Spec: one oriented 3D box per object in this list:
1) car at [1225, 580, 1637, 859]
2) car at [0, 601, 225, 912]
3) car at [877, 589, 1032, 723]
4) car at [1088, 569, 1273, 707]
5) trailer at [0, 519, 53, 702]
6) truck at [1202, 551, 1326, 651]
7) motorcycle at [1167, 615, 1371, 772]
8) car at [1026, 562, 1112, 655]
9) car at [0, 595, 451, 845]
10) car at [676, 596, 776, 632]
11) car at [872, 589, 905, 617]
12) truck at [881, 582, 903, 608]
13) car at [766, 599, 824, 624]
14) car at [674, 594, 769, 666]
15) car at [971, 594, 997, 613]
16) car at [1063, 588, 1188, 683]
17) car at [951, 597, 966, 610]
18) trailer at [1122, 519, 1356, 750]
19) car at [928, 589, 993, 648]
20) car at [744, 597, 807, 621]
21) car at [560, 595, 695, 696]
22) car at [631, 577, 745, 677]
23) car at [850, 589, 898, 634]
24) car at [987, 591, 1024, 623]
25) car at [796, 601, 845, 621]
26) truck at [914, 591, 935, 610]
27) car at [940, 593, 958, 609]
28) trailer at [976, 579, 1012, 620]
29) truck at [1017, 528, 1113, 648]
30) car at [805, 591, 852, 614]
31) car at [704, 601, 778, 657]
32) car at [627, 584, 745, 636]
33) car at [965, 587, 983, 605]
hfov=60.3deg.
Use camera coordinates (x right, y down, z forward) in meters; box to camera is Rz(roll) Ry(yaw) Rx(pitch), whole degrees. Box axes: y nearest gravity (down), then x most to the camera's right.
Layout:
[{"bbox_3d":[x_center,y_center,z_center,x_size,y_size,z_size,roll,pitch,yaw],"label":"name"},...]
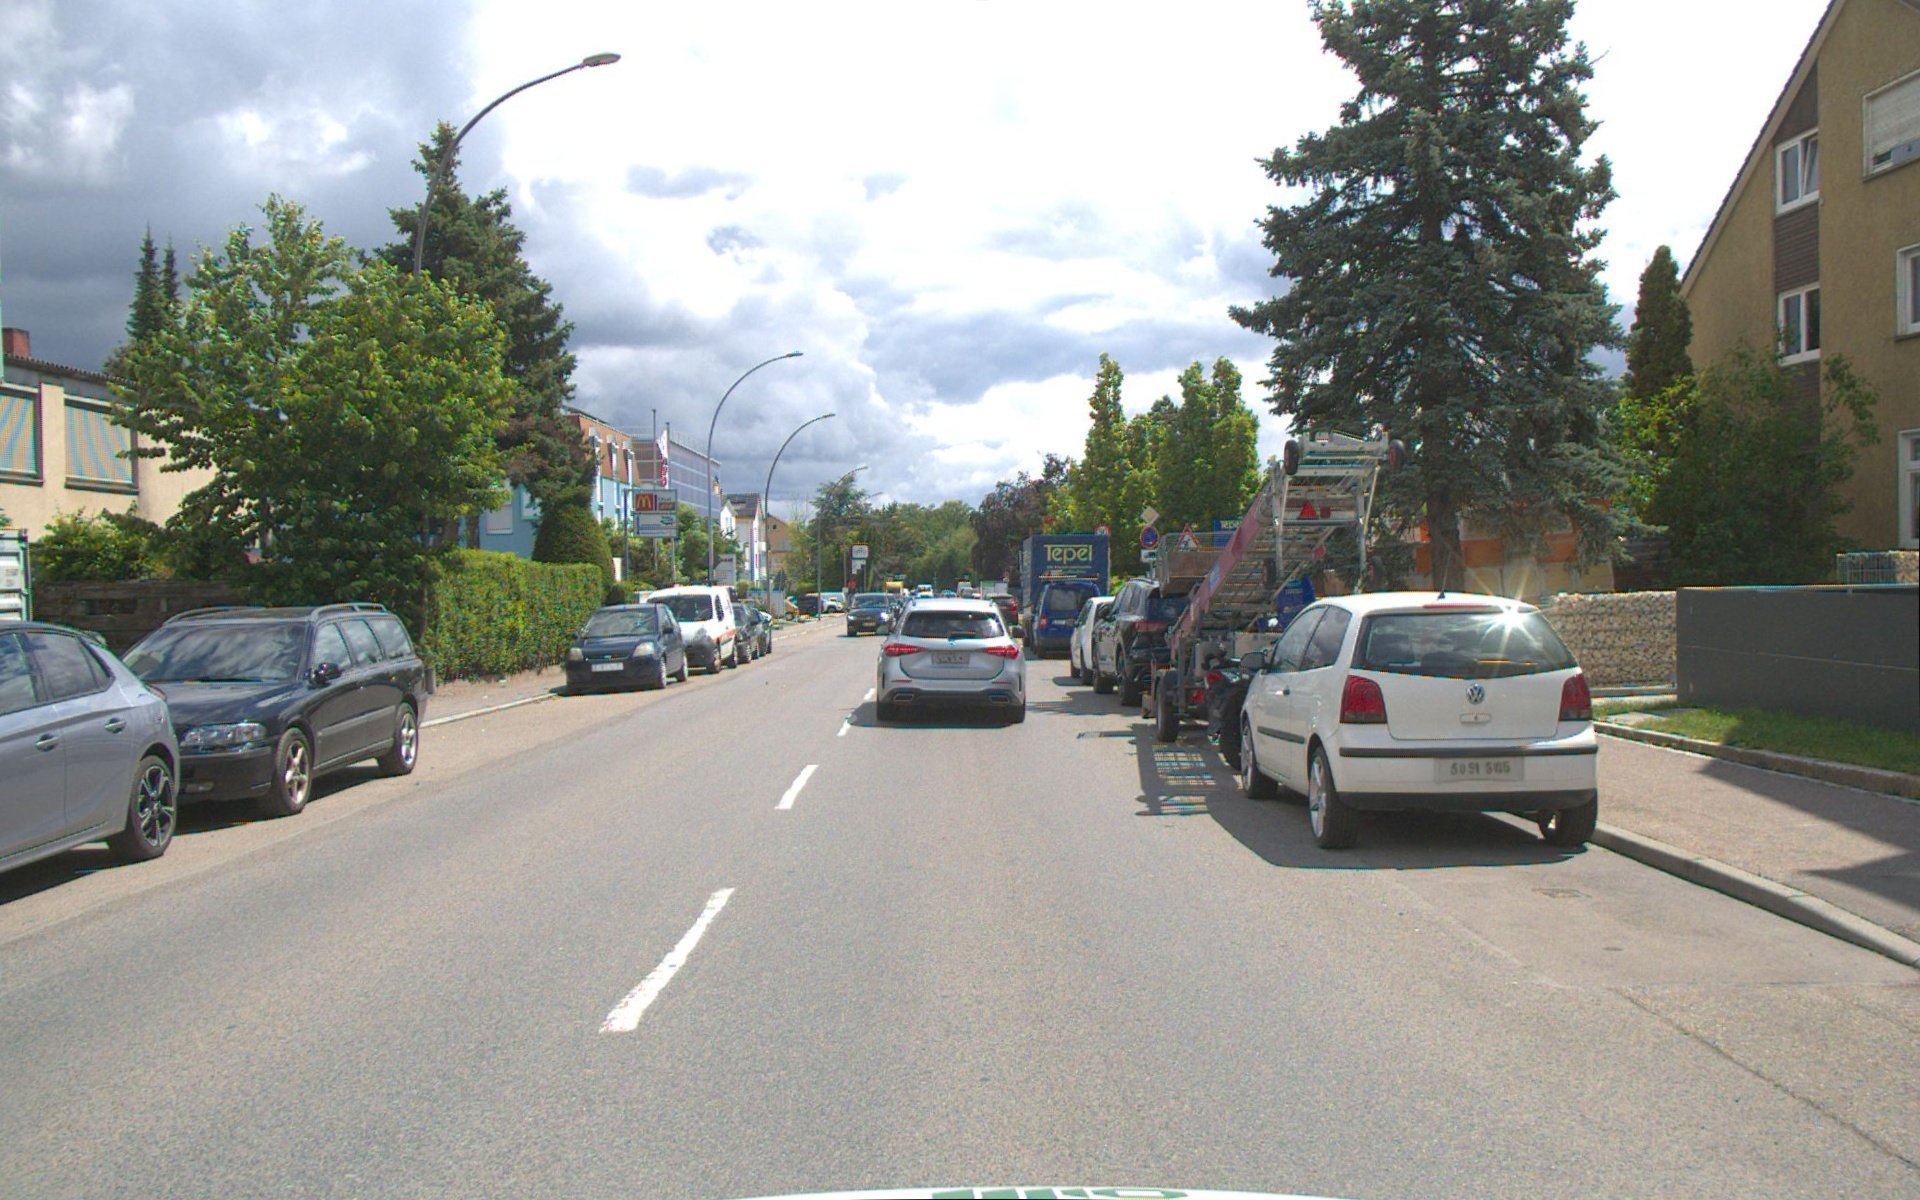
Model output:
[{"bbox_3d":[2.923,0.639,11.141,1.684,1.457,3.984,-3,1,2],"label":"car"},{"bbox_3d":[-5.491,0.798,8.441,1.685,1.457,4.198,-3,1,-2],"label":"car"},{"bbox_3d":[-0.145,0.623,20.933,1.748,1.510,4.315,0,1,-2],"label":"car"},{"bbox_3d":[3.071,0.475,23.994,1.836,1.757,4.711,-2,1,-2],"label":"car"},{"bbox_3d":[-17.205,0.323,24.270,6.115,2.698,2.732,-3,0,-1],"label":"trailer"},{"bbox_3d":[7.329,-0.055,40.395,1.792,2.117,5.385,-4,2,-1],"label":"truck"},{"bbox_3d":[2.720,0.781,14.467,1.803,1.231,0.708,-2,1,-36],"label":"motorcycle"},{"bbox_3d":[2.704,0.189,41.884,1.835,2.207,4.464,1,0,0],"label":"car"},{"bbox_3d":[-5.568,0.775,13.163,1.685,1.519,4.733,-2,1,-2],"label":"car"},{"bbox_3d":[-10.687,0.645,75.655,4.285,1.504,1.871,-1,-1,0],"label":"car"},{"bbox_3d":[-4.524,0.190,105.099,1.953,1.644,4.410,-2,1,-1],"label":"car"},{"bbox_3d":[-7.868,-0.618,191.920,2.032,2.863,7.078,-2,1,1],"label":"truck"},{"bbox_3d":[-13.476,0.937,135.089,4.536,1.661,2.196,-4,1,-4],"label":"car"},{"bbox_3d":[-5.822,0.687,40.798,1.709,1.497,4.642,-4,1,-2],"label":"car"},{"bbox_3d":[1.955,0.274,134.934,1.756,1.475,4.361,-2,1,-3],"label":"car"},{"bbox_3d":[2.893,0.575,29.660,1.737,1.534,3.999,-2,1,-1],"label":"car"},{"bbox_3d":[-0.197,0.439,218.842,1.748,1.745,4.314,0,0,-2],"label":"car"},{"bbox_3d":[2.891,0.312,17.984,1.737,2.182,4.113,-1,1,-1],"label":"trailer"},{"bbox_3d":[-0.025,0.486,46.673,1.720,1.585,3.999,-1,1,-1],"label":"car"},{"bbox_3d":[-12.382,0.619,111.253,4.068,1.518,1.824,1,0,-4],"label":"car"},{"bbox_3d":[-5.801,0.740,29.297,1.607,1.512,3.999,-4,1,-2],"label":"car"},{"bbox_3d":[-5.717,0.517,35.204,1.709,1.870,4.354,-4,1,-2],"label":"car"},{"bbox_3d":[-3.356,0.417,64.970,1.708,1.656,4.355,0,1,-1],"label":"car"},{"bbox_3d":[2.416,0.344,87.590,1.901,1.599,4.446,-1,0,1],"label":"car"},{"bbox_3d":[-12.447,1.011,147.622,4.192,1.594,1.991,-1,-3,0],"label":"car"},{"bbox_3d":[-4.451,0.051,210.189,2.271,2.216,6.450,-2,0,1],"label":"truck"},{"bbox_3d":[-1.161,0.046,169.714,1.720,1.585,3.999,-1,1,-1],"label":"car"},{"bbox_3d":[2.003,-0.042,98.911,1.902,2.334,4.444,-1,0,-2],"label":"trailer"},{"bbox_3d":[2.921,-0.350,47.319,2.273,3.151,6.042,1,0,0],"label":"truck"},{"bbox_3d":[-12.104,0.245,152.752,4.193,1.868,1.990,-1,-3,-2],"label":"car"},{"bbox_3d":[-6.016,0.779,45.849,1.598,1.326,4.115,-4,1,-3],"label":"car"},{"bbox_3d":[-11.233,0.383,67.998,4.559,2.006,2.114,-1,1,-4],"label":"car"},{"bbox_3d":[1.633,-0.526,193.725,2.100,2.018,5.261,-1,0,0],"label":"car"}]
